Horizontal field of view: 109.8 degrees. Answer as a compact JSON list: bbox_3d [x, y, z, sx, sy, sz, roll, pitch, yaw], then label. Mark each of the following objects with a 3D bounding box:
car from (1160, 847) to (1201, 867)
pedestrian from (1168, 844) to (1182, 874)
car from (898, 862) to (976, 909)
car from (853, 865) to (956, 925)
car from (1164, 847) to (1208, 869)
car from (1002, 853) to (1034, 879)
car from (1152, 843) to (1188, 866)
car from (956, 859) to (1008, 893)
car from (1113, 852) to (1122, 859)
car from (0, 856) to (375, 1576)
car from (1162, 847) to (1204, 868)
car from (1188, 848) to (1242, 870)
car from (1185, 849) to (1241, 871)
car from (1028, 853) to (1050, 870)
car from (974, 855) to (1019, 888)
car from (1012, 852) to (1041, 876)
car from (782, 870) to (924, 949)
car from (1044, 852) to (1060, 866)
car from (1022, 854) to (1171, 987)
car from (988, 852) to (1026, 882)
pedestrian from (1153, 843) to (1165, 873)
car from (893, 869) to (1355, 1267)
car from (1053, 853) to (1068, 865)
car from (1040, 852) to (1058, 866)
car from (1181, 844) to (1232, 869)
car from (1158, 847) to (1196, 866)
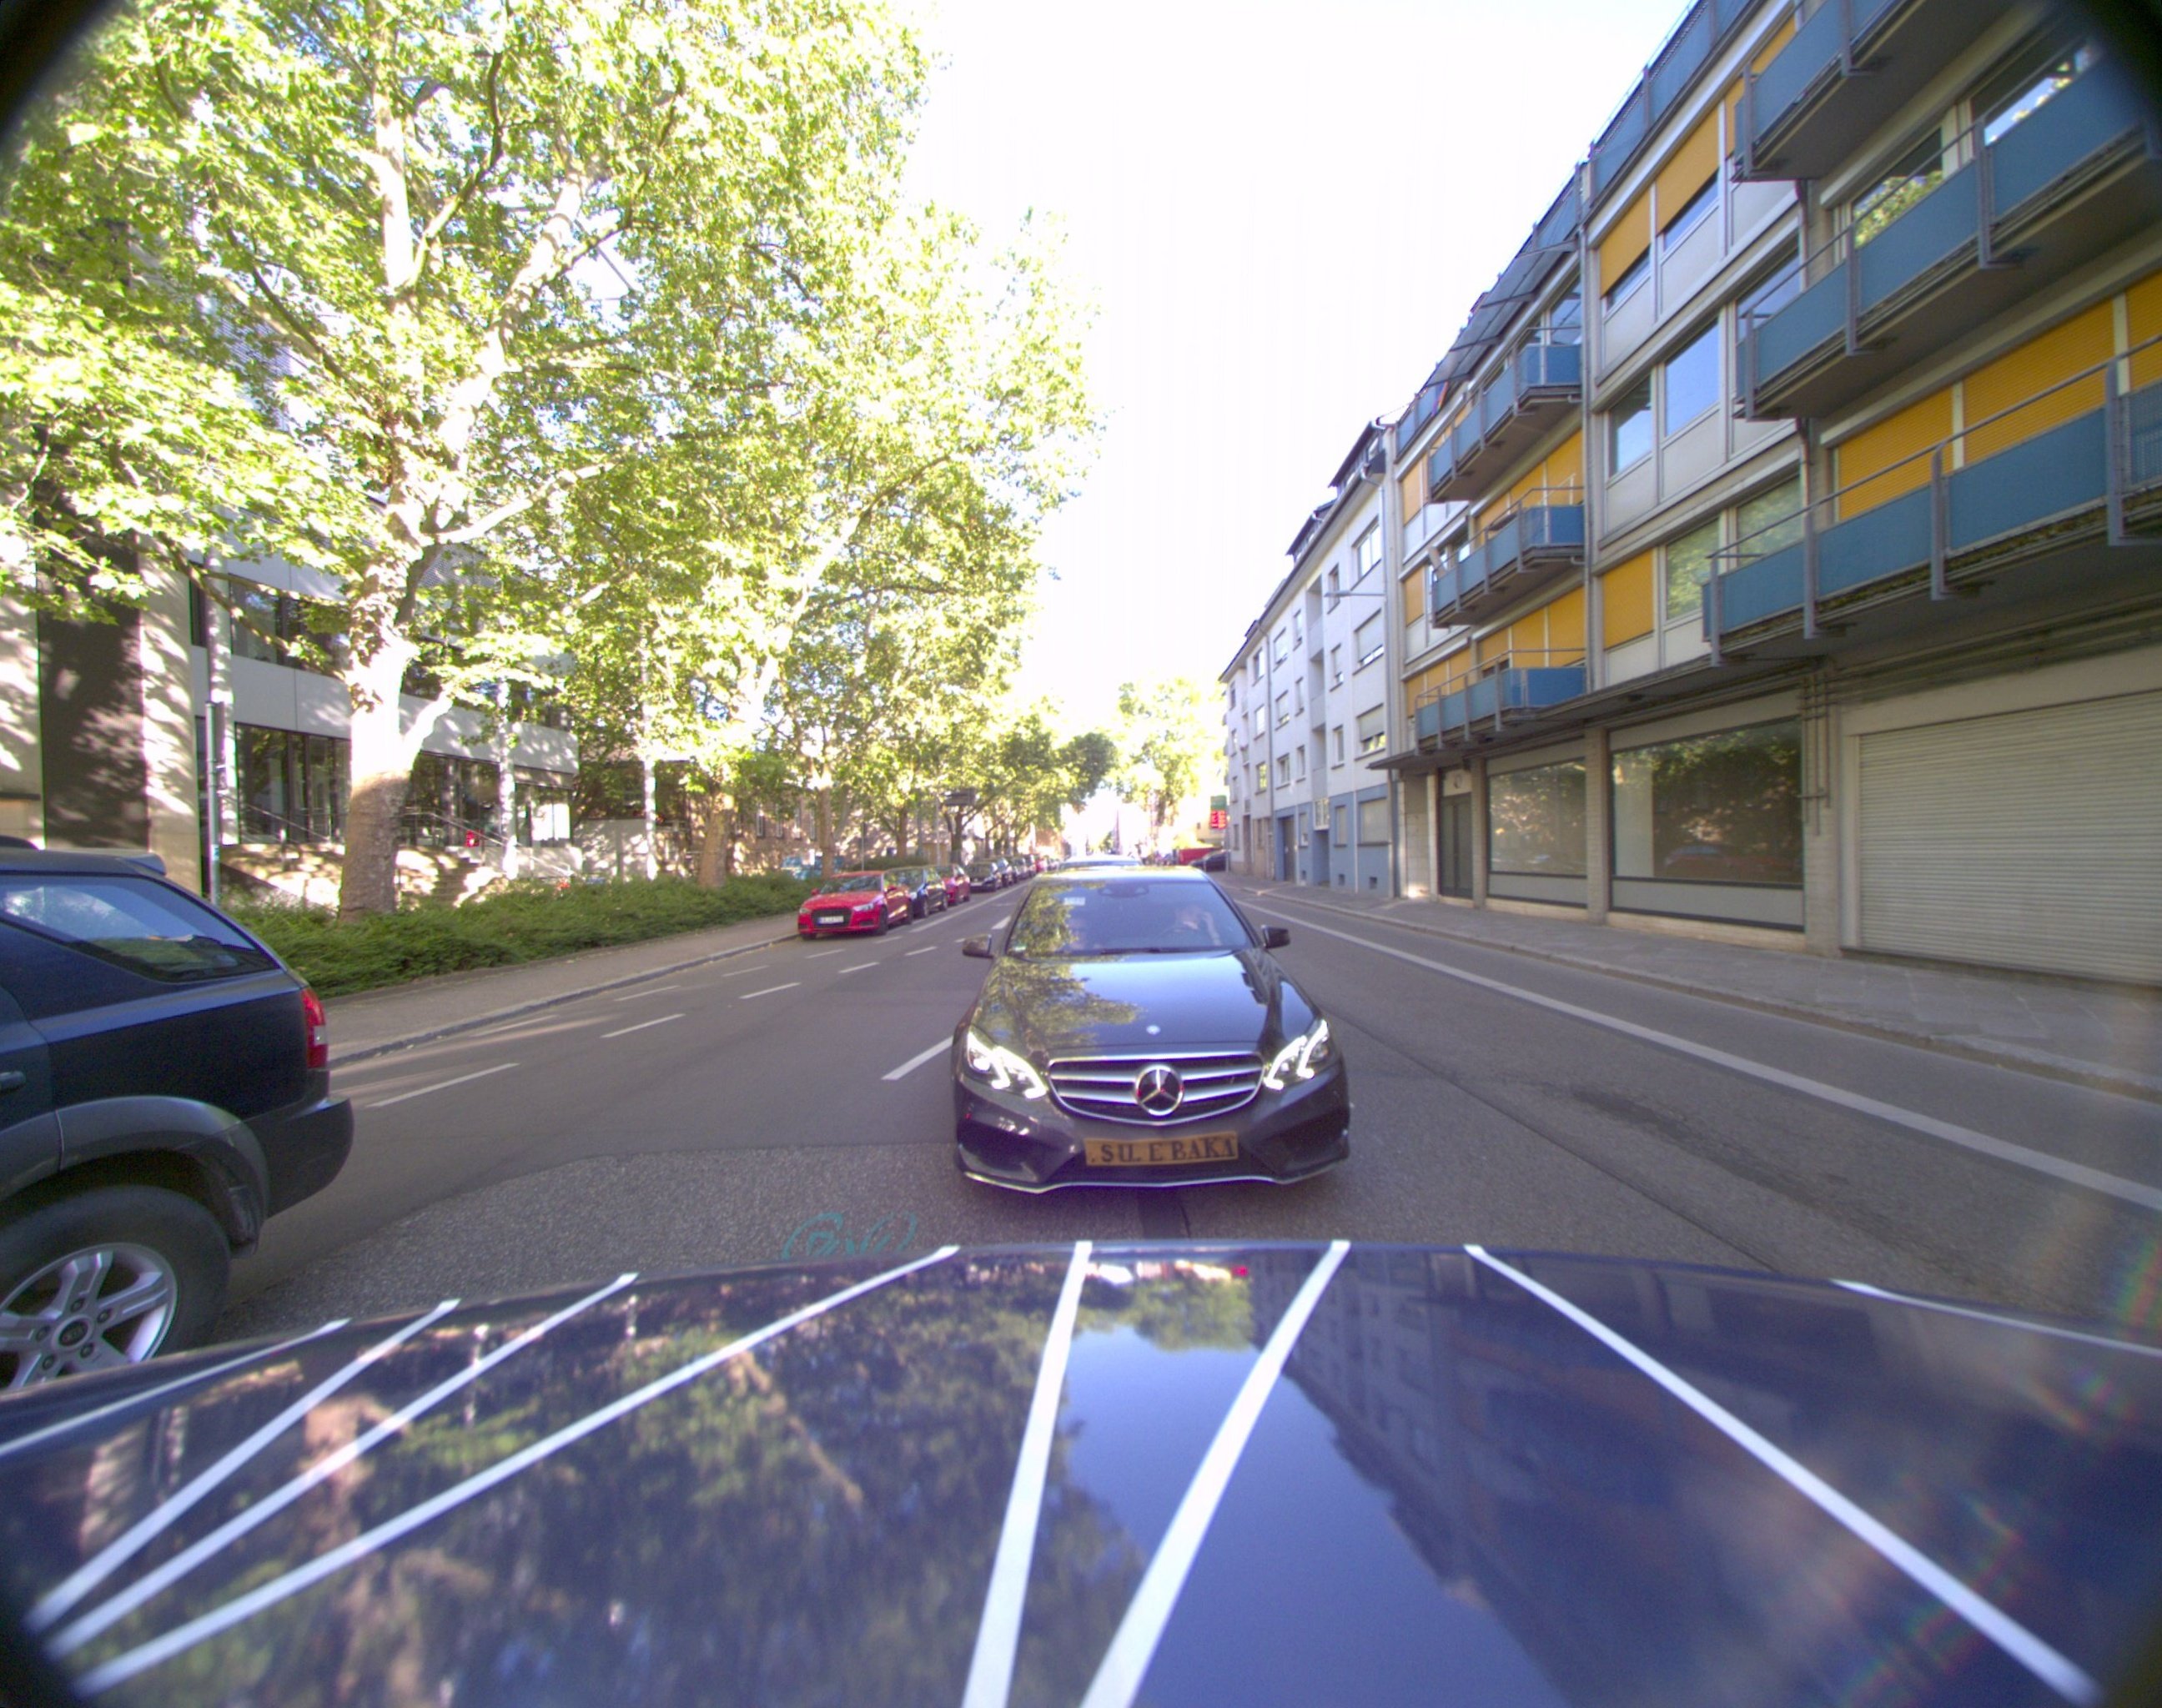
[{"bbox_3d":[10.463,0.319,79.976,3.996,1.936,2.000,-2,1,2],"label":"car"},{"bbox_3d":[6.466,0.339,52.195,0.735,2.002,1.046,-2,1,0],"label":"pedestrian"},{"bbox_3d":[-5.085,1.067,27.403,1.866,1.442,4.481,-2,0,1],"label":"car"},{"bbox_3d":[-5.041,1.126,22.359,1.866,1.442,4.481,-2,0,1],"label":"car"},{"bbox_3d":[10.250,0.388,74.483,3.996,1.936,2.000,-2,1,2],"label":"car"},{"bbox_3d":[-4.500,0.823,54.778,1.866,1.749,4.481,-2,0,1],"label":"car"},{"bbox_3d":[10.491,0.015,89.485,3.996,2.505,2.000,-2,1,2],"label":"car"},{"bbox_3d":[-4.753,1.027,37.150,1.866,1.442,4.481,-2,0,1],"label":"car"},{"bbox_3d":[8.960,0.305,186.707,1.866,1.632,4.481,-2,0,1],"label":"car"},{"bbox_3d":[-3.621,0.926,0.587,1.866,1.753,4.481,-2,0,1],"label":"car"},{"bbox_3d":[10.334,0.355,77.125,3.996,1.936,2.000,-2,1,2],"label":"car"},{"bbox_3d":[10.718,0.386,61.171,3.996,1.543,2.000,-2,1,2],"label":"car"},{"bbox_3d":[10.177,0.433,58.849,3.996,1.543,2.000,-2,1,2],"label":"car"},{"bbox_3d":[-4.196,0.711,76.256,1.866,1.632,4.481,-2,0,1],"label":"car"},{"bbox_3d":[-4.618,0.911,42.185,1.866,1.658,4.481,-2,0,1],"label":"car"},{"bbox_3d":[-4.243,0.761,59.734,1.866,1.749,4.481,-2,0,1],"label":"car"},{"bbox_3d":[-5.101,1.179,17.709,1.866,1.442,4.481,-2,0,1],"label":"car"},{"bbox_3d":[-3.673,0.656,96.752,1.866,1.632,4.481,-2,0,1],"label":"car"},{"bbox_3d":[0.228,0.860,11.908,1.866,1.630,4.303,-2,0,1],"label":"car"},{"bbox_3d":[-4.630,0.788,48.111,1.866,1.749,4.481,-2,0,1],"label":"car"},{"bbox_3d":[5.373,0.282,52.443,0.735,2.002,0.797,-2,1,1],"label":"pedestrian"},{"bbox_3d":[0.208,0.934,5.385,1.866,1.492,4.481,-2,0,1],"label":"car"},{"bbox_3d":[-2.837,0.650,105.161,1.866,1.632,4.481,-2,0,1],"label":"car"},{"bbox_3d":[-3.789,0.564,89.951,1.866,1.632,4.481,-2,0,1],"label":"car"},{"bbox_3d":[10.551,0.164,64.002,3.996,1.936,2.000,-2,1,2],"label":"car"},{"bbox_3d":[10.738,0.253,84.958,3.996,1.936,2.000,-2,1,2],"label":"car"}]
